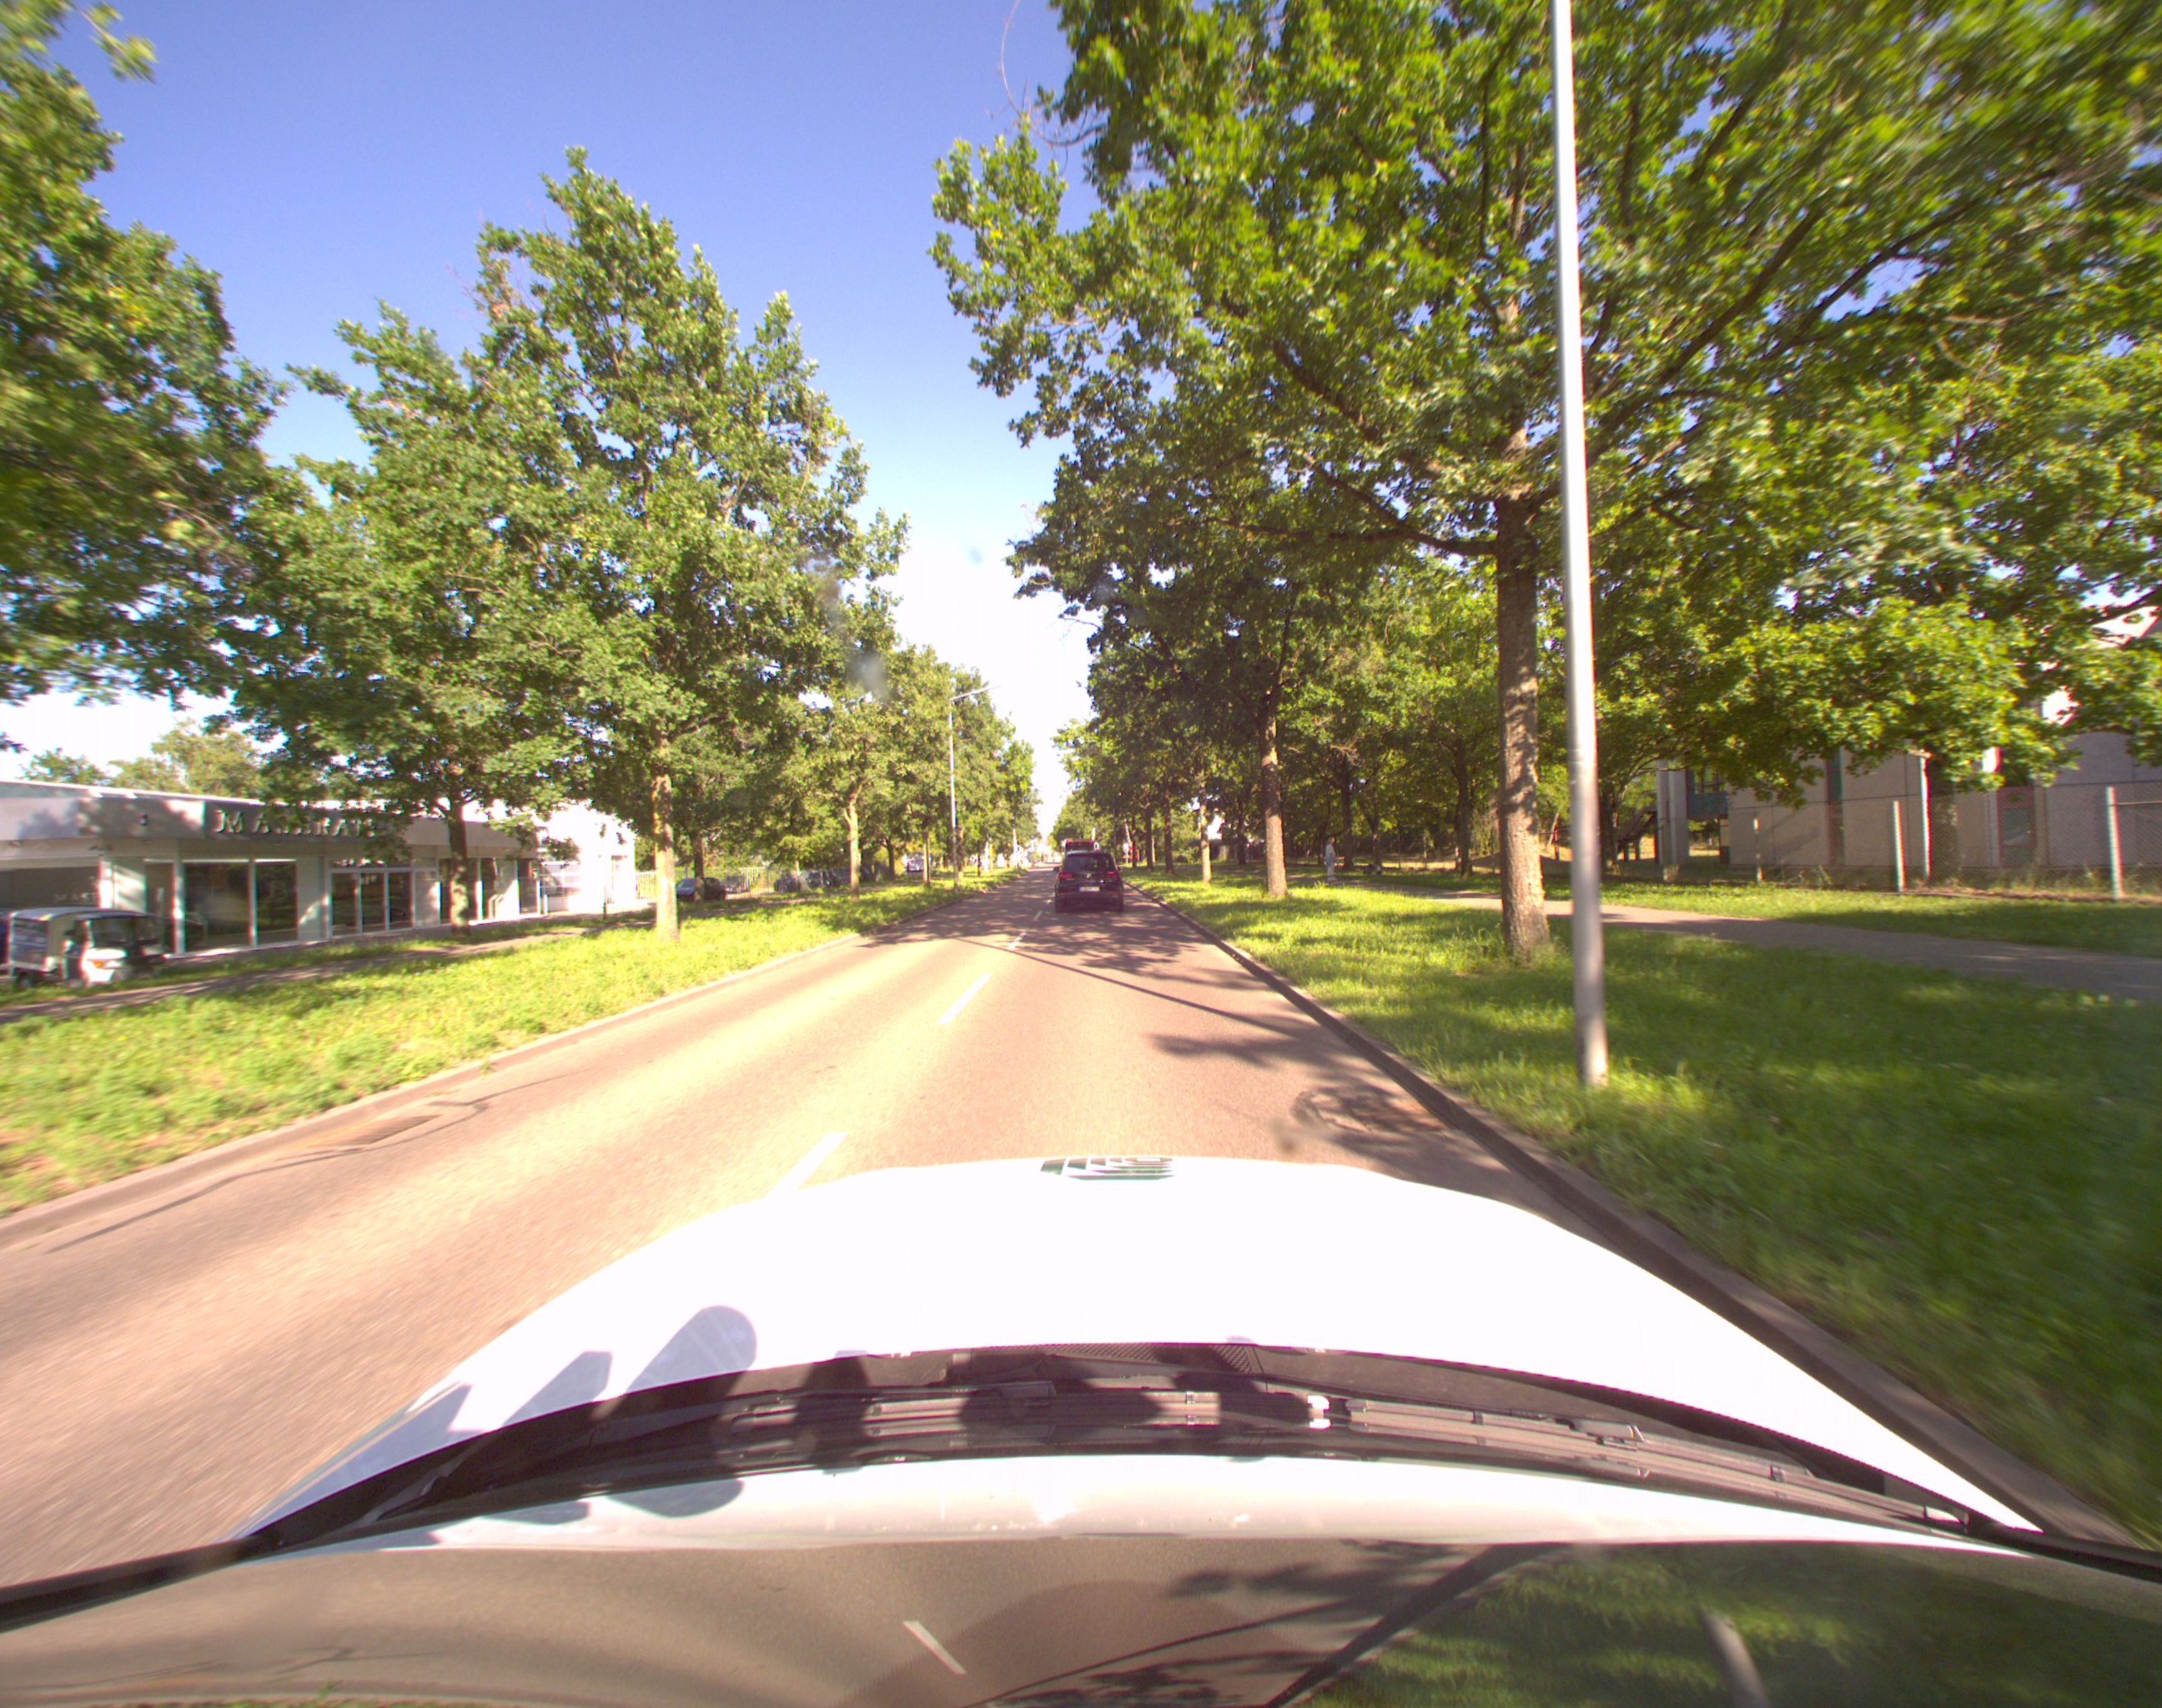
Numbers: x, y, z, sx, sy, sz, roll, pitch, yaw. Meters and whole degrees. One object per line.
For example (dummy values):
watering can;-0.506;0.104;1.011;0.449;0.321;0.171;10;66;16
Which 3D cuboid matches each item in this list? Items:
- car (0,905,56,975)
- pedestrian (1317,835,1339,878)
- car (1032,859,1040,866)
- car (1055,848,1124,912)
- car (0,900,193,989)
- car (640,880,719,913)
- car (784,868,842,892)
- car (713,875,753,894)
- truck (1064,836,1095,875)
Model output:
car;-29.213;2.302;19.782;1.974;1.660;5.294;-1;1;39
pedestrian;9.673;0.090;31.844;0.711;1.631;0.613;-4;0;17
car;-10.312;1.992;186.941;1.560;1.504;4.000;0;0;1
car;0.175;0.686;22.938;1.777;1.633;3.998;0;0;-1
car;-18.576;1.685;15.381;2.547;1.470;1.432;-2;0;17
car;-22.365;2.310;45.634;1.987;1.598;5.013;0;0;-1
car;-21.024;2.056;64.069;3.984;1.801;1.995;0;-1;-8
car;-31.863;2.808;74.633;1.991;1.566;4.874;0;0;-6
truck;-0.187;0.169;74.092;2.505;3.243;8.147;-2;0;-1
